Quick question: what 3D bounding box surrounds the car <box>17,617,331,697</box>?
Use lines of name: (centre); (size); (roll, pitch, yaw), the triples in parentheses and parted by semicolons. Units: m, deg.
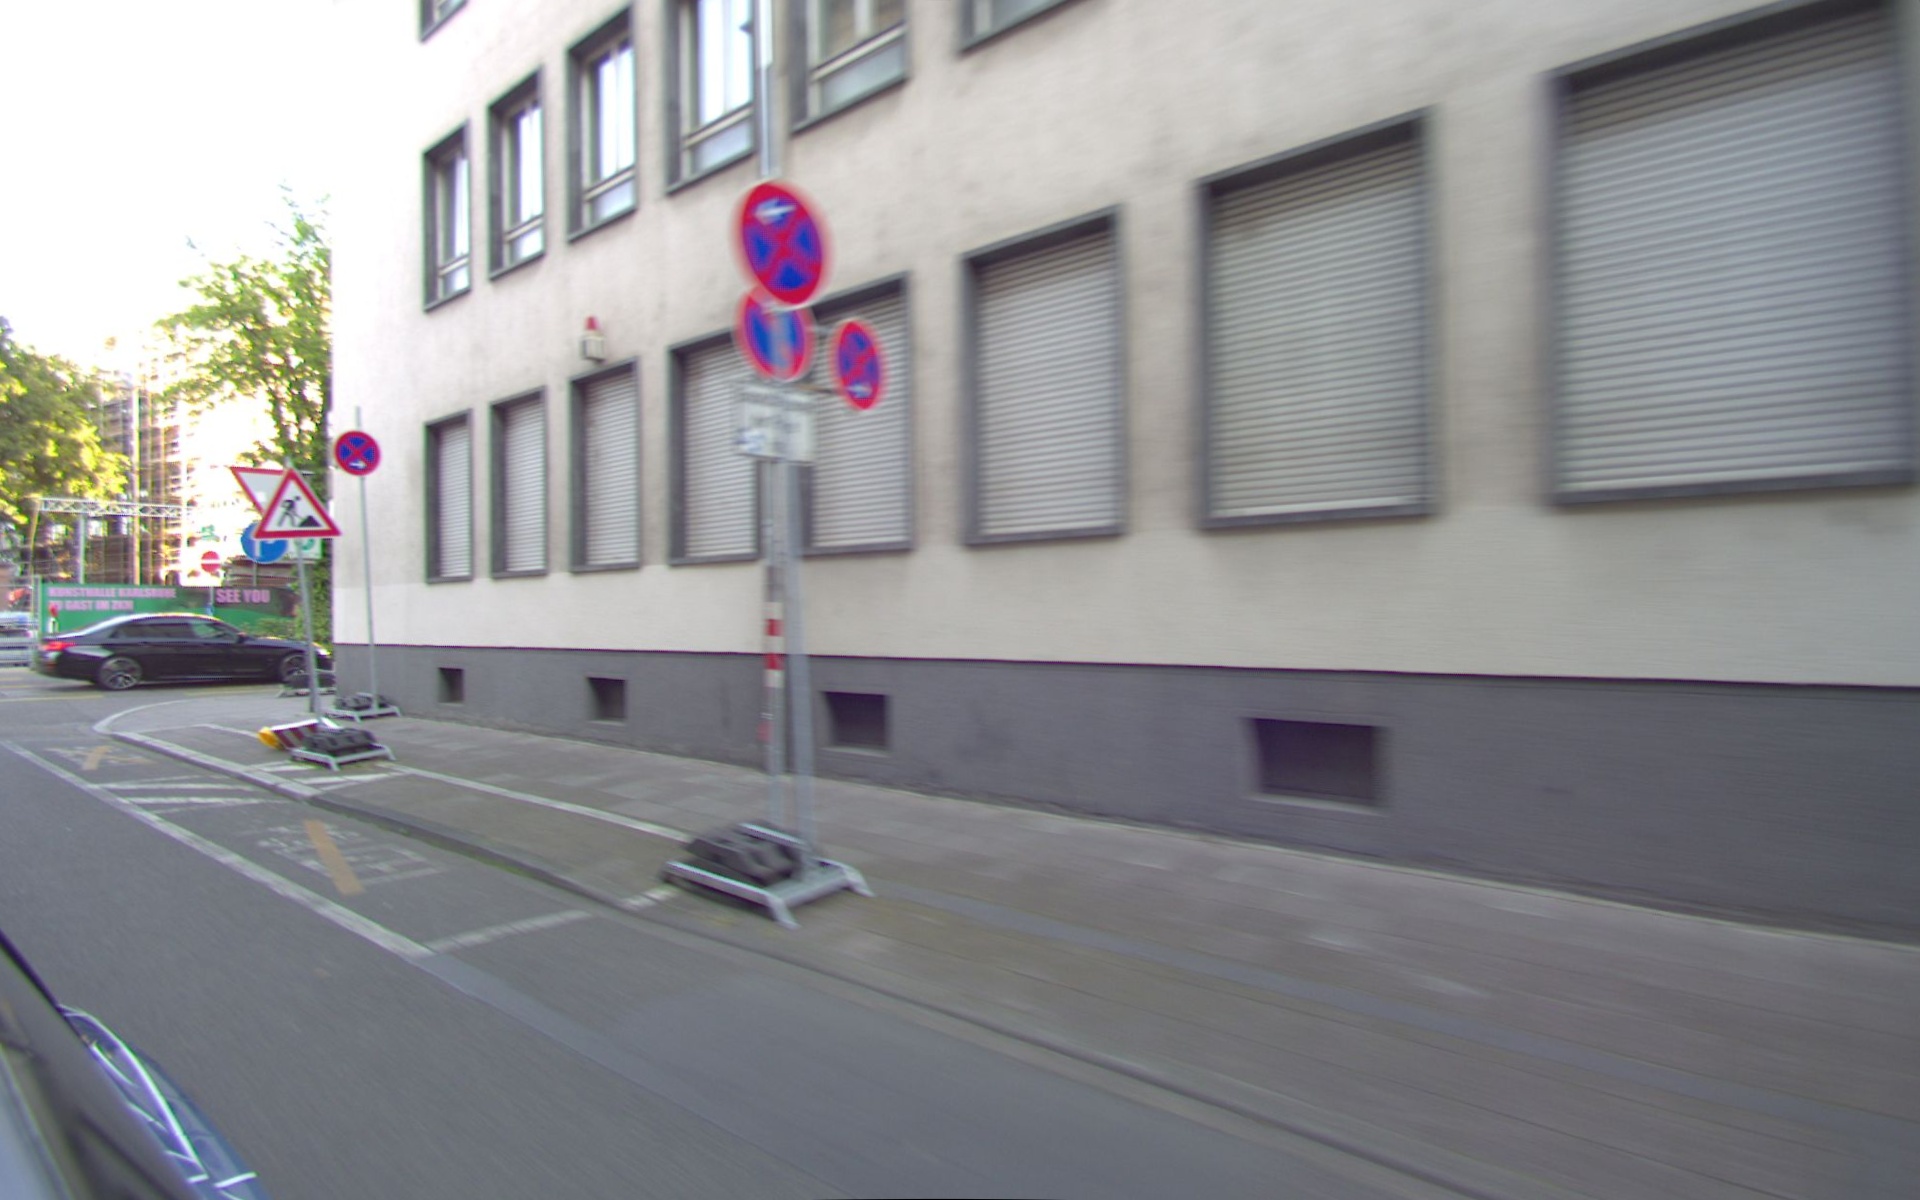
car: (-15.797, 1.058, 20.574); (1.999, 1.394, 4.766); (-1, -1, 41)
